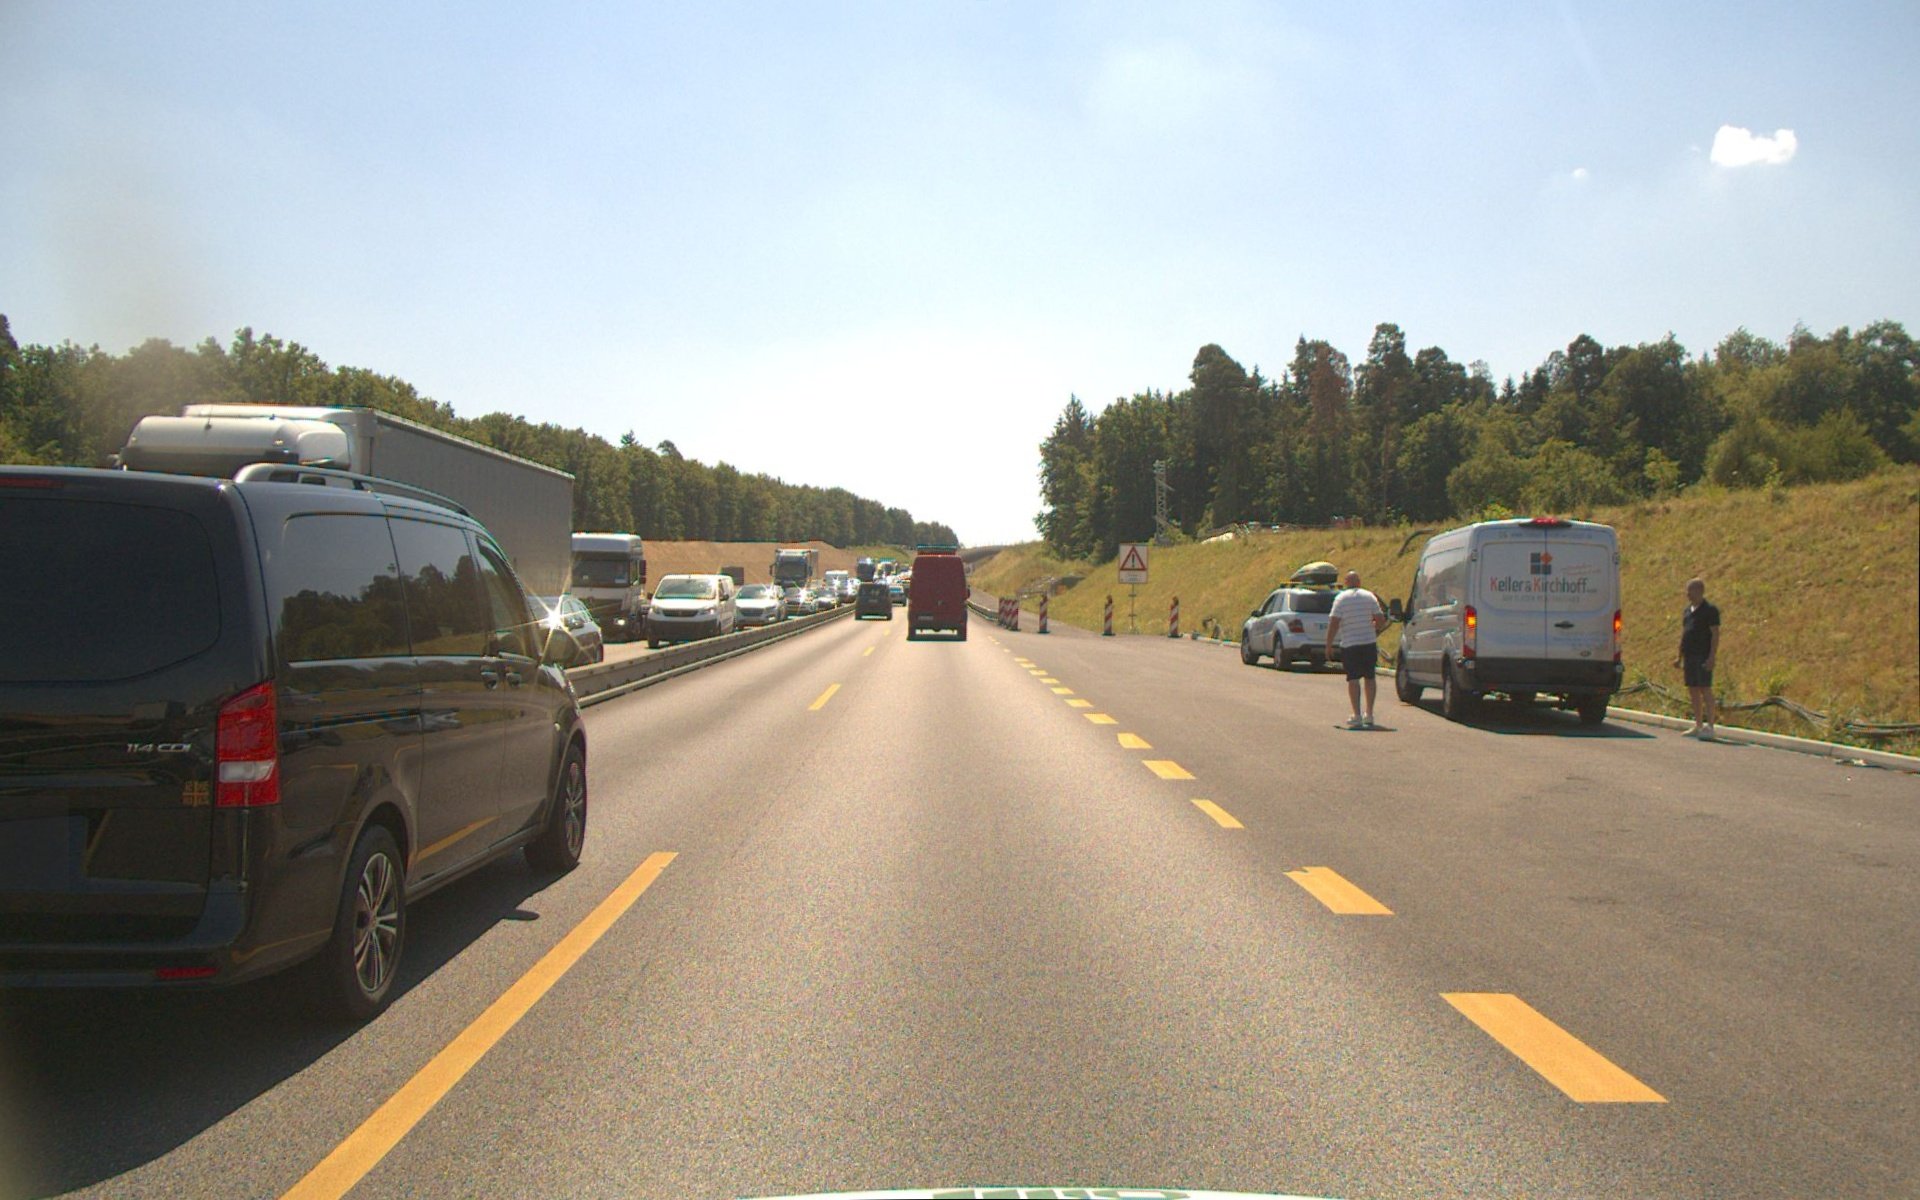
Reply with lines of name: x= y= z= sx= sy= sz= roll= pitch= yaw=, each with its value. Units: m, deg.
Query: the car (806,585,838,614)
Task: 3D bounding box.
car: x=-8.105 y=-0.011 z=97.607 sx=1.649 sy=1.624 sz=3.223 roll=1 pitch=-1 yaw=-1

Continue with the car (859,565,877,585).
car: x=-12.984 y=-3.525 z=233.449 sx=2.337 sy=2.625 sz=3.998 roll=1 pitch=-1 yaw=-2

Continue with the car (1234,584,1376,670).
car: x=7.551 y=0.543 z=36.674 sx=1.739 sy=1.706 sz=4.851 roll=2 pitch=1 yaw=-5

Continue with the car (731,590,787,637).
car: x=-7.390 y=0.505 z=61.130 sx=1.690 sy=1.659 sz=4.389 roll=1 pitch=-1 yaw=-2

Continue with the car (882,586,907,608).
car: x=-4.848 y=-0.241 z=122.999 sx=1.794 sy=1.549 sz=3.960 roll=1 pitch=-1 yaw=-1

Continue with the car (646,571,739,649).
car: x=-7.201 y=0.292 z=45.040 sx=1.788 sy=1.960 sz=5.261 roll=1 pitch=-1 yaw=-2

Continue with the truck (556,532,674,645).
truck: x=-10.077 y=-0.288 z=48.783 sx=2.349 sy=3.112 sz=5.062 roll=1 pitch=-1 yaw=0

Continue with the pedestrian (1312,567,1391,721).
pedestrian: x=4.855 y=0.541 z=20.530 sx=0.710 sy=1.860 sz=0.718 roll=1 pitch=-1 yaw=-10

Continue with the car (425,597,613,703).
car: x=-6.428 y=0.709 z=24.600 sx=1.692 sy=1.411 sz=4.482 roll=1 pitch=-1 yaw=-2

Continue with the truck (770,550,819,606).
truck: x=-11.659 y=-1.465 z=117.249 sx=2.457 sy=3.680 sz=9.639 roll=1 pitch=-1 yaw=0

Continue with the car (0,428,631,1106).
car: x=-2.906 y=0.465 z=7.356 sx=1.836 sy=1.883 sz=5.477 roll=1 pitch=0 yaw=-1

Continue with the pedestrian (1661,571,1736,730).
pedestrian: x=8.696 y=0.588 z=19.496 sx=0.552 sy=1.827 sz=0.667 roll=1 pitch=-1 yaw=-3

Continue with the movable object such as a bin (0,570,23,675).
movable object such as a bin: x=-29.882 y=0.729 z=47.216 sx=2.124 sy=3.163 sz=7.164 roll=-2 pitch=0 yaw=0

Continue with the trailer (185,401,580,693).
trailer: x=-9.901 y=-0.791 z=30.704 sx=2.734 sy=4.146 sz=13.707 roll=1 pitch=0 yaw=-1

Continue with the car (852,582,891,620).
car: x=-4.415 y=0.048 z=83.064 sx=1.716 sy=1.856 sz=4.781 roll=1 pitch=0 yaw=-1

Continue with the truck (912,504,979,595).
truck: x=-1.084 y=-3.329 z=117.225 sx=4.311 sy=5.592 sz=16.598 roll=1 pitch=-1 yaw=-1

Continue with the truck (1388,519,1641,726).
truck: x=7.576 y=0.257 z=23.301 sx=2.085 sy=2.500 sz=5.929 roll=1 pitch=0 yaw=6

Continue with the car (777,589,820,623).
car: x=-7.780 y=0.298 z=79.789 sx=1.591 sy=1.584 sz=4.069 roll=1 pitch=-1 yaw=1

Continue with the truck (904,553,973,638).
truck: x=-0.736 y=-0.109 z=54.788 sx=2.109 sy=2.635 sz=5.331 roll=1 pitch=-1 yaw=-1

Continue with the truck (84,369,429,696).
truck: x=-9.765 y=-0.824 z=23.570 sx=2.712 sy=4.115 sz=4.942 roll=1 pitch=-1 yaw=0

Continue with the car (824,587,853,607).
car: x=-8.826 y=-0.215 z=120.373 sx=1.803 sy=1.351 sz=3.942 roll=1 pitch=-1 yaw=0

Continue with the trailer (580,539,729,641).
trailer: x=-10.150 y=-0.270 z=56.805 sx=2.299 sy=2.983 sz=15.268 roll=1 pitch=0 yaw=0
